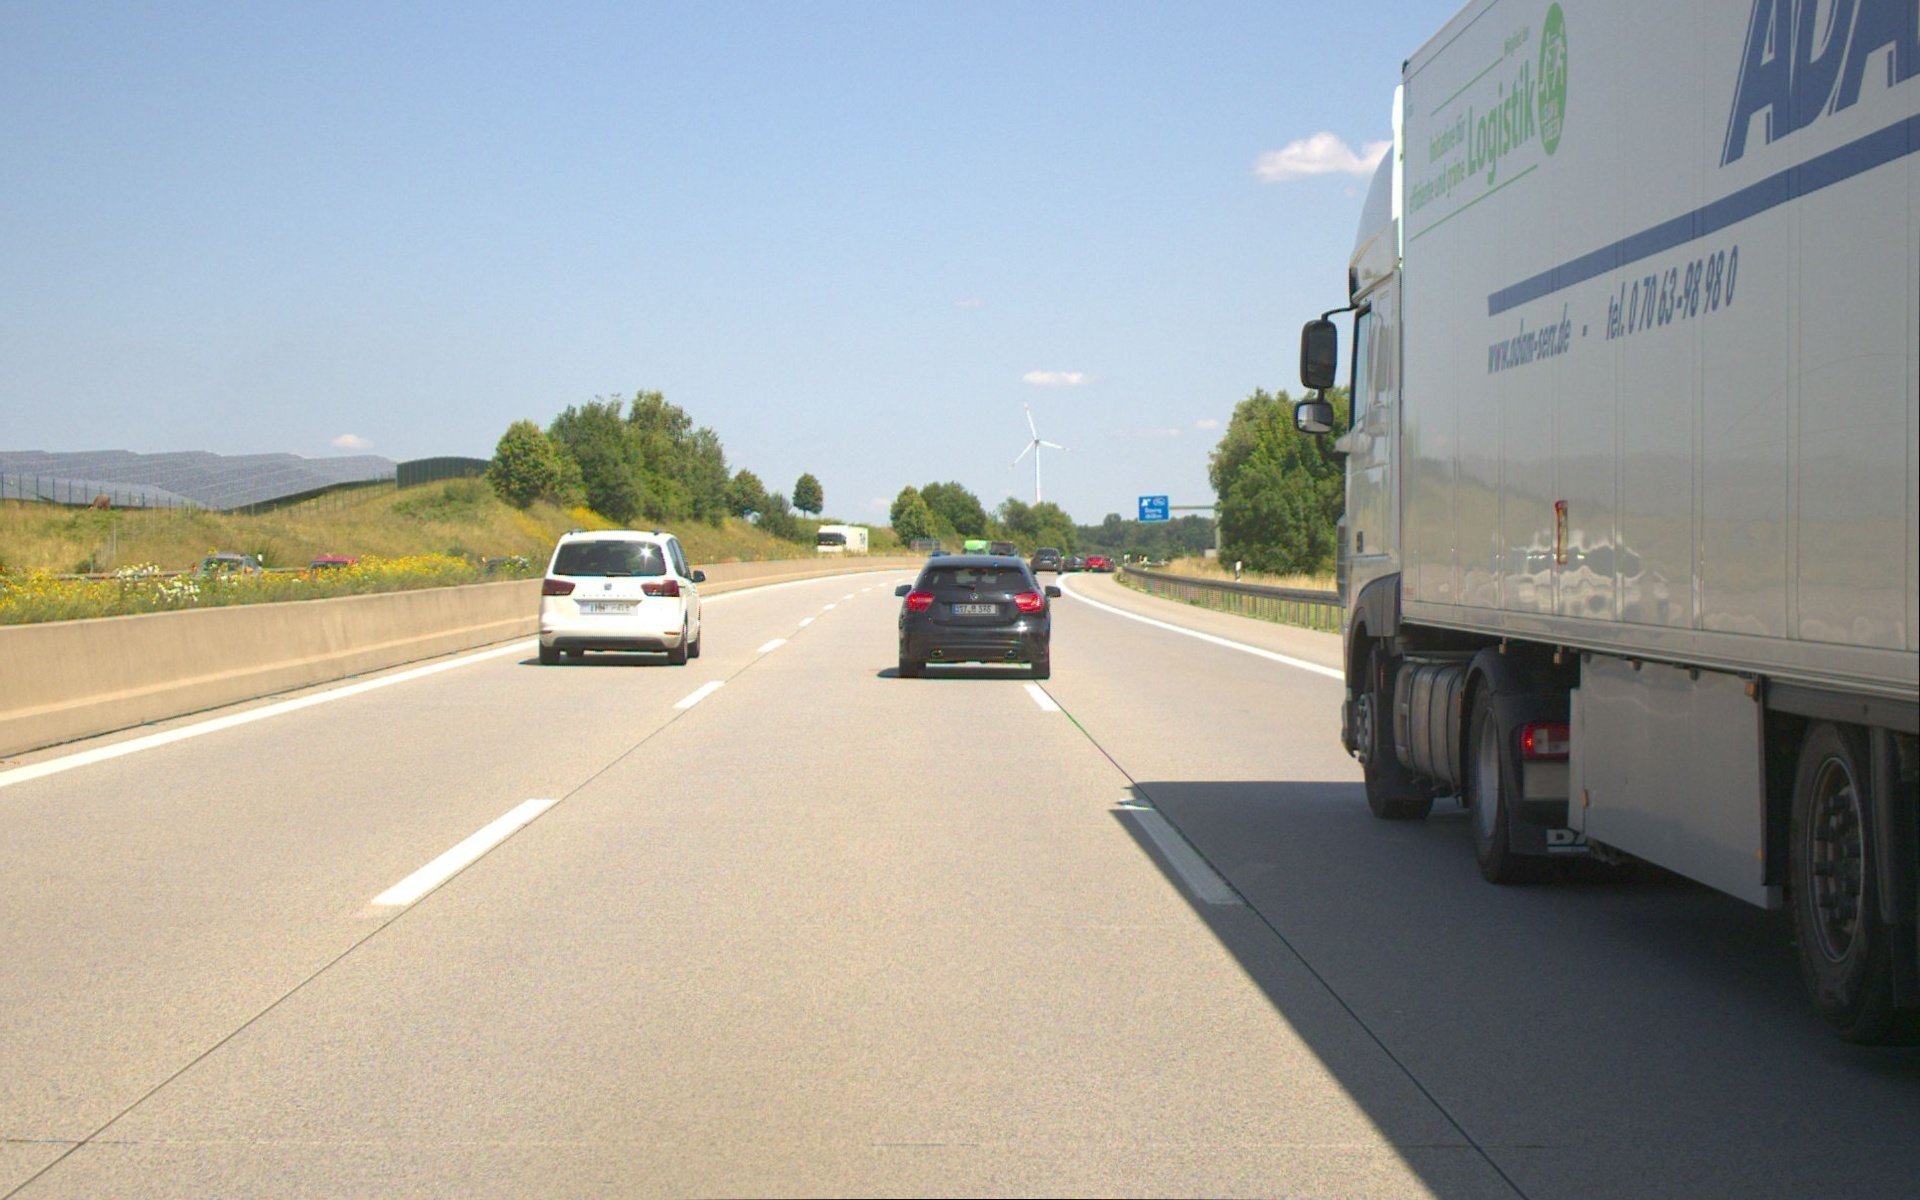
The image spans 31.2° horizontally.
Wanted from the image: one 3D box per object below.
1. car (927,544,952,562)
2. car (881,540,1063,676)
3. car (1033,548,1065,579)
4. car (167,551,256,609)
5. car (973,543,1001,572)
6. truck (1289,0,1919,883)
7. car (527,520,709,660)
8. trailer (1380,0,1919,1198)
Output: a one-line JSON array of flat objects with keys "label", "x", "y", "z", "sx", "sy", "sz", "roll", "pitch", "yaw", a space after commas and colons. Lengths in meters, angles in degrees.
[{"label": "car", "x": -1.460, "y": -3.269, "z": 238.376, "sx": 1.655, "sy": 1.192, "sz": 3.960, "roll": 3, "pitch": 1, "yaw": -1}, {"label": "car", "x": 0.094, "y": 0.059, "z": 41.210, "sx": 1.910, "sy": 1.487, "sz": 4.192, "roll": 1, "pitch": 1, "yaw": -3}, {"label": "car", "x": 5.482, "y": -2.240, "z": 212.200, "sx": 1.827, "sy": 1.900, "sz": 4.000, "roll": 1, "pitch": 1, "yaw": 3}, {"label": "car", "x": -21.331, "y": -0.585, "z": 98.113, "sx": 1.649, "sy": 1.546, "sz": 3.968, "roll": 2, "pitch": 1, "yaw": 0}, {"label": "car", "x": 1.831, "y": -2.856, "z": 233.287, "sx": 1.827, "sy": 1.931, "sz": 3.809, "roll": 0, "pitch": 1, "yaw": 1}, {"label": "truck", "x": 3.519, "y": -0.807, "z": 18.506, "sx": 2.812, "sy": 4.074, "sz": 5.799, "roll": 1, "pitch": 1, "yaw": -1}, {"label": "car", "x": -4.429, "y": -0.152, "z": 45.386, "sx": 1.845, "sy": 1.702, "sz": 6.036, "roll": 1, "pitch": 1, "yaw": -1}, {"label": "trailer", "x": 3.632, "y": -0.645, "z": 10.433, "sx": 2.852, "sy": 4.029, "sz": 12.714, "roll": 1, "pitch": 1, "yaw": -1}]
